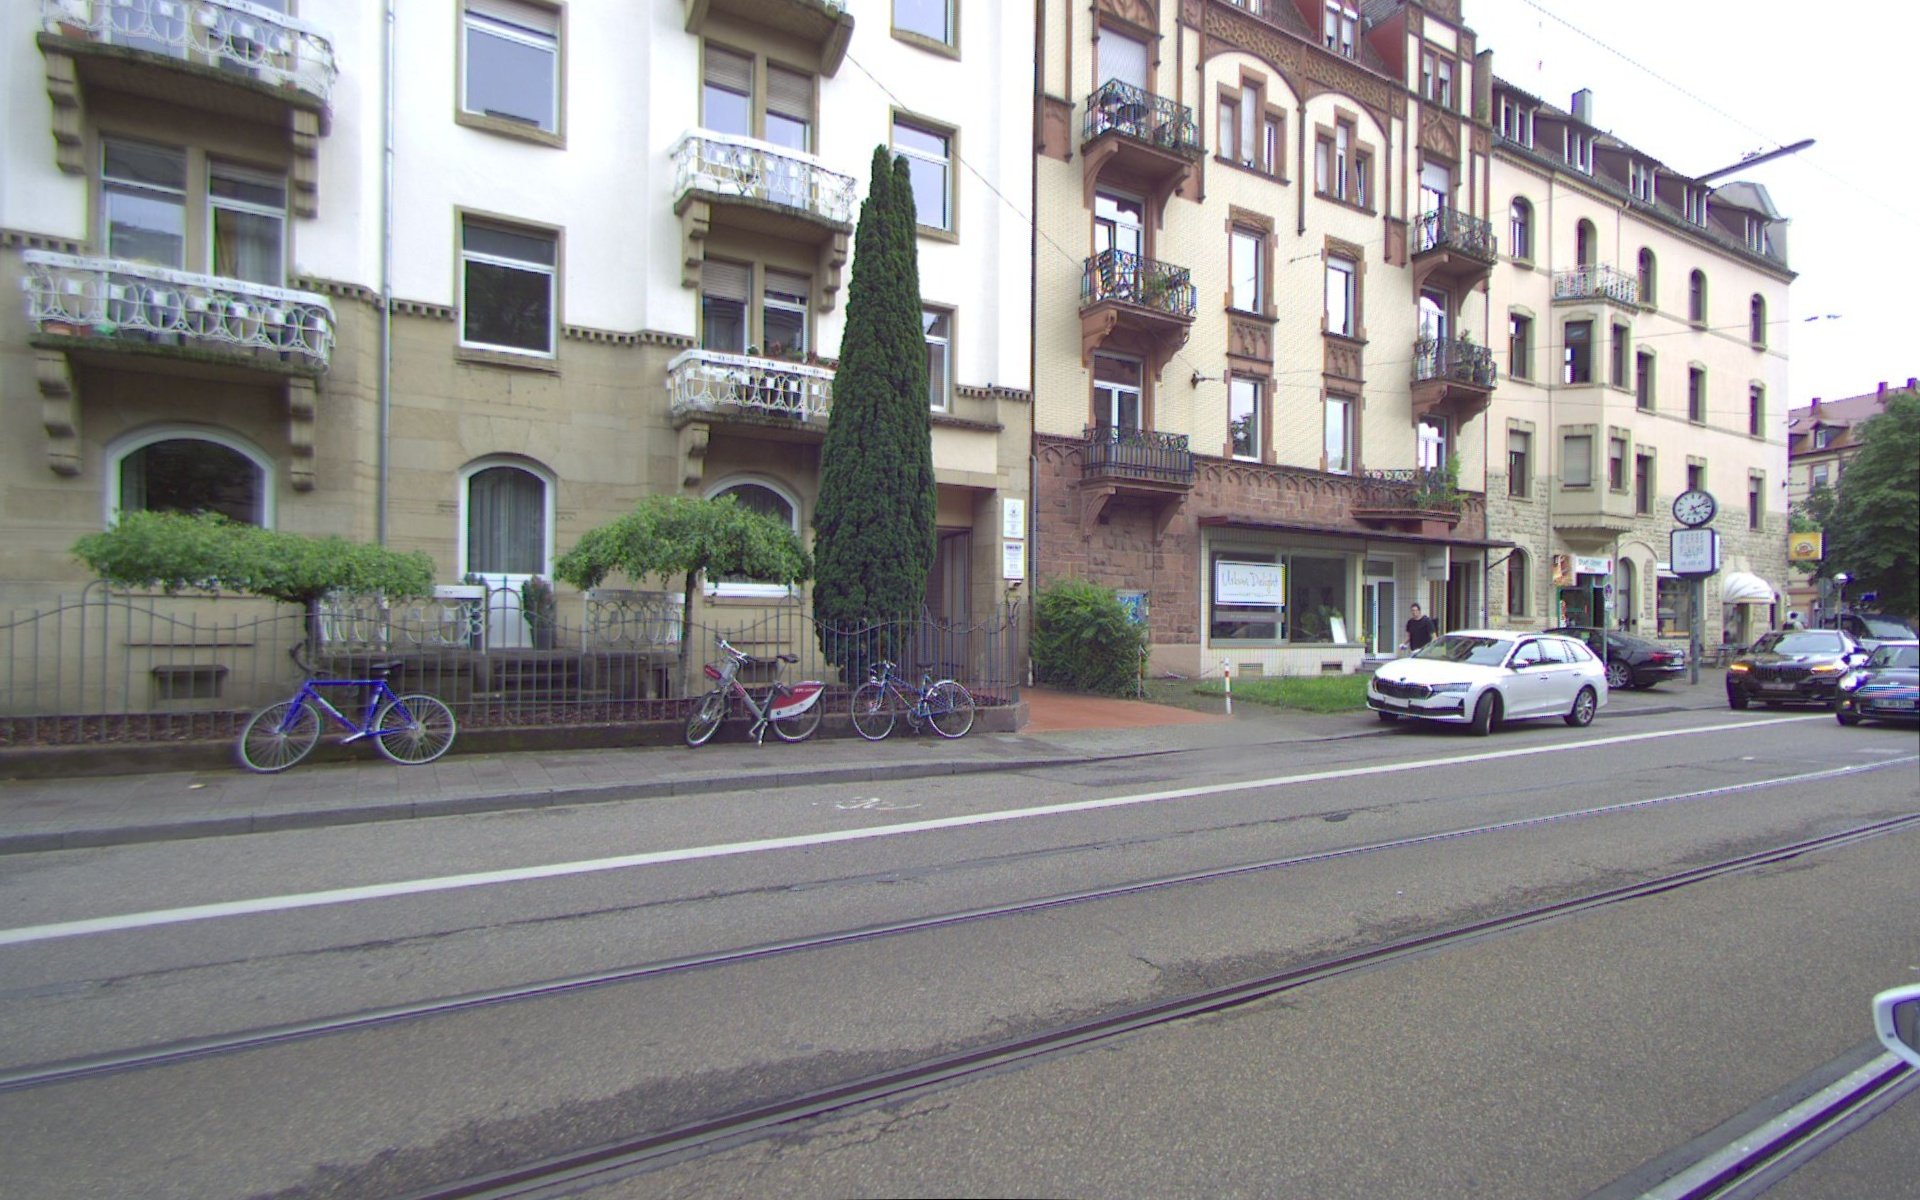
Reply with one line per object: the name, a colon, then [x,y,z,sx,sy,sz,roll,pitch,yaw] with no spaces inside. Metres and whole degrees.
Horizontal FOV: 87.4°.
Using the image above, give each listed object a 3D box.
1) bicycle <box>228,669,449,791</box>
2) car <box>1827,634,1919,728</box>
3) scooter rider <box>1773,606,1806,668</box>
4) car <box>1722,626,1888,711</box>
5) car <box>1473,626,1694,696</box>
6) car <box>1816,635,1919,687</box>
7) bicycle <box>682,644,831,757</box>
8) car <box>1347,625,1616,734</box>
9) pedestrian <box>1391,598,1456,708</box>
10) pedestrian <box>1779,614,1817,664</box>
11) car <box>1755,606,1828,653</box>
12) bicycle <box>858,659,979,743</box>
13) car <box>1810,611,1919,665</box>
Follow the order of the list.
bicycle: [-5.526,1.149,9.041,1.641,0.938,0.357,0,-19,-29]
car: [16.020,1.290,16.676,3.450,1.441,1.599,1,-2,-34]
scooter rider: [27.917,1.248,33.809,0.749,2.040,0.638,1,-1,-32]
car: [18.286,1.432,21.657,4.847,1.632,1.868,2,-4,-40]
car: [15.790,1.482,25.665,1.862,1.389,4.396,1,1,-35]
car: [27.525,1.781,30.205,4.086,1.380,1.639,1,1,-34]
bicycle: [-2.166,1.046,10.853,1.613,1.116,0.381,2,-2,-43]
car: [8.322,1.164,15.900,4.558,1.504,1.738,1,-2,-32]
pedestrian: [8.155,0.917,17.664,0.872,1.868,0.664,1,-2,-32]
pedestrian: [34.567,1.593,41.431,0.826,2.040,0.969,1,-2,-31]
car: [47.892,1.679,57.990,2.145,2.560,5.374,0,-1,27]
bicycle: [-0.486,1.197,12.129,1.498,0.950,0.330,1,-1,-32]
car: [43.306,1.777,47.994,2.142,2.449,5.382,0,-1,17]
